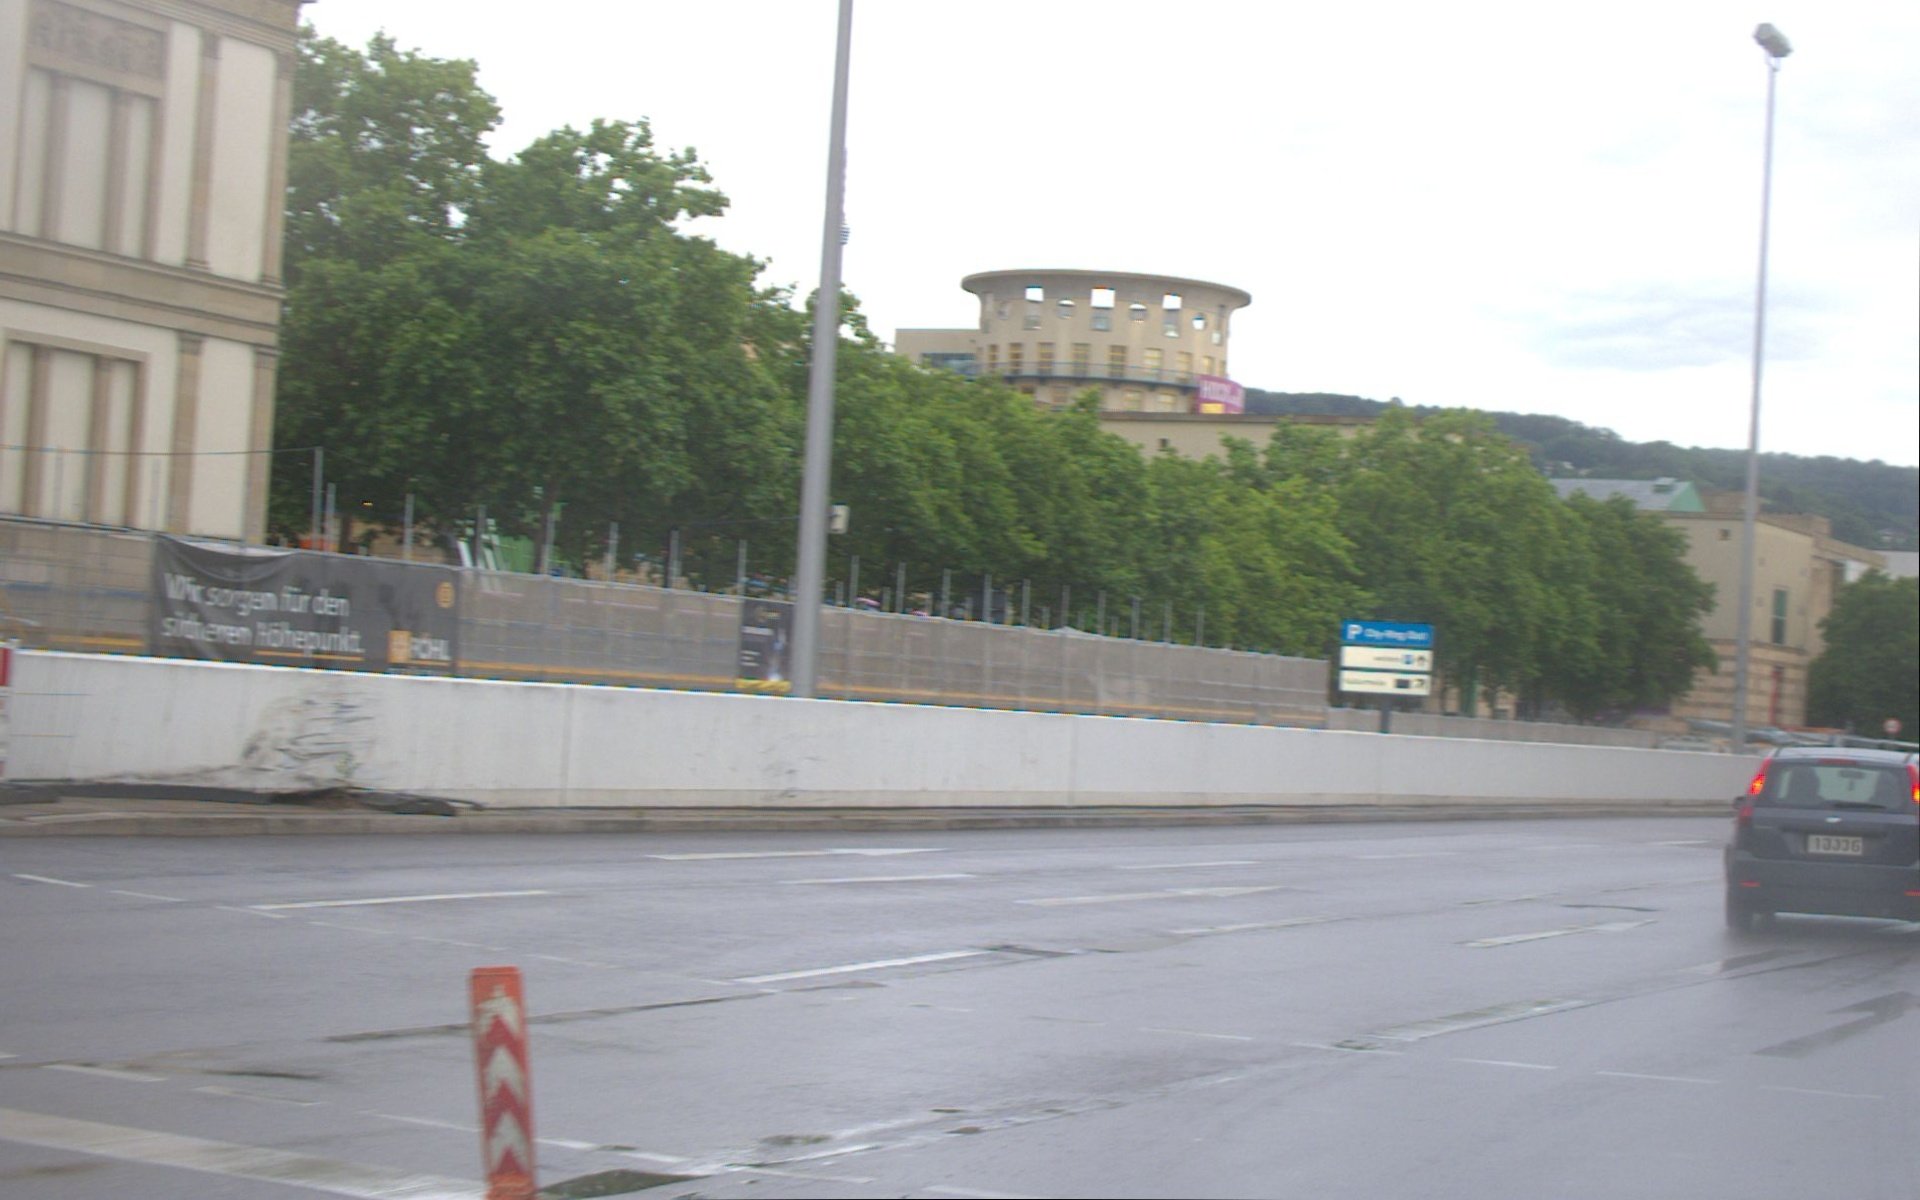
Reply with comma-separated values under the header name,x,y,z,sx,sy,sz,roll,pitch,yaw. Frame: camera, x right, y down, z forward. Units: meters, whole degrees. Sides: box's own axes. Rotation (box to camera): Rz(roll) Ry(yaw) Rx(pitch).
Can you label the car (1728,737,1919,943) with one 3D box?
name,x,y,z,sx,sy,sz,roll,pitch,yaw
car,6.992,1.854,27.095,1.671,1.422,3.754,3,-2,14
